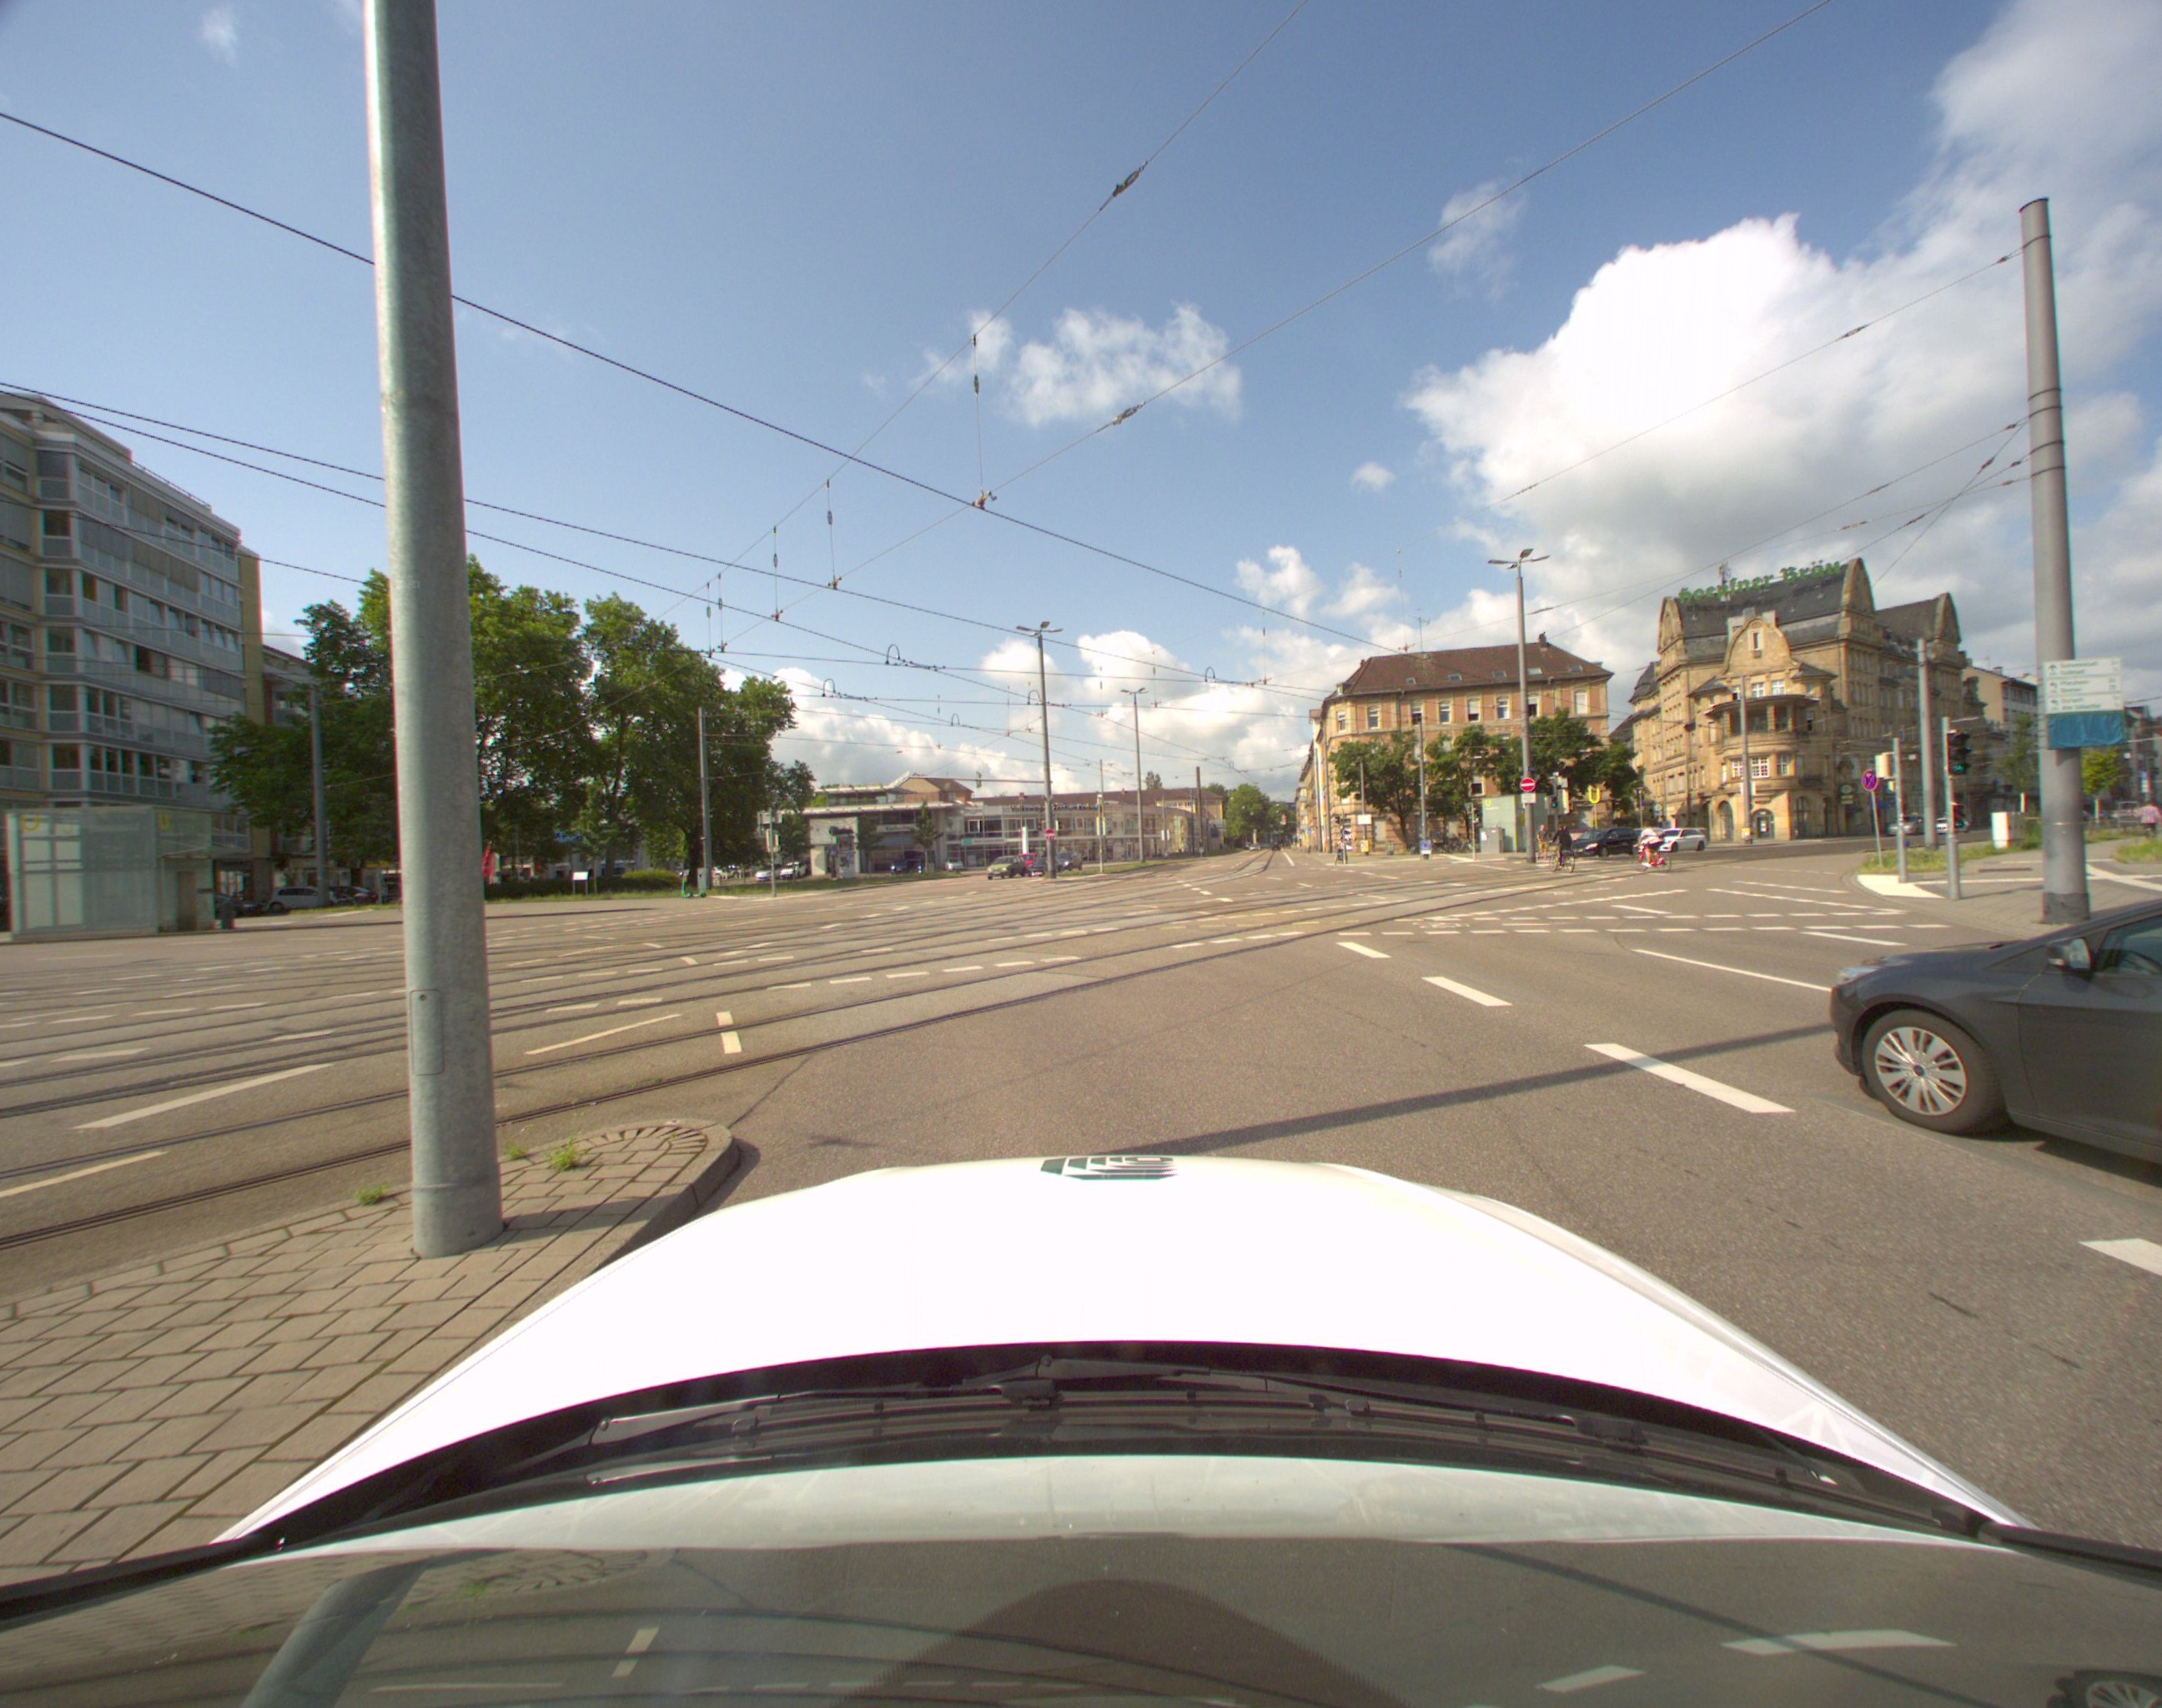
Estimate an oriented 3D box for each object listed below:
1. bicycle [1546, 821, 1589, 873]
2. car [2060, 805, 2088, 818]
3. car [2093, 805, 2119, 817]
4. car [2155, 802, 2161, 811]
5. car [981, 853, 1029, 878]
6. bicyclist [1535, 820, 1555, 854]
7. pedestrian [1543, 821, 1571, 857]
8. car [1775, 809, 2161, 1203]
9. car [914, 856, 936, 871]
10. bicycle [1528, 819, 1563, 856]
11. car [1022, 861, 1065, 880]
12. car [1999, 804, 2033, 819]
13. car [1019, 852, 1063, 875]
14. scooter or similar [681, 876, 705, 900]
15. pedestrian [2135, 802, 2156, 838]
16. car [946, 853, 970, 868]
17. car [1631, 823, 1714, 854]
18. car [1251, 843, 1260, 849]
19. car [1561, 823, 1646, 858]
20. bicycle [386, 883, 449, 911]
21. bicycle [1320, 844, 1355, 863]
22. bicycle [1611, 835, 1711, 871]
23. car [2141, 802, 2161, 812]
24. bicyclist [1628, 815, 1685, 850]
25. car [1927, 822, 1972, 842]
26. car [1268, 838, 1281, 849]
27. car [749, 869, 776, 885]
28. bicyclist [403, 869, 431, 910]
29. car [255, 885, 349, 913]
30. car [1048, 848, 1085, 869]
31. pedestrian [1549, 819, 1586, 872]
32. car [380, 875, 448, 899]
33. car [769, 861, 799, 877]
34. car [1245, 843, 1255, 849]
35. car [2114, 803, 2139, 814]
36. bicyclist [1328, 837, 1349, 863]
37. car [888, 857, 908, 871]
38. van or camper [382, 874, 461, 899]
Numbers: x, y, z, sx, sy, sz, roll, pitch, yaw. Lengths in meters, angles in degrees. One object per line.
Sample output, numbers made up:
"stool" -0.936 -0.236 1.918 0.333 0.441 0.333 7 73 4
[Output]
"bicycle" 17.084 -0.233 28.638 0.996 1.725 2.483 0 -1 24
"car" 133.181 -5.693 109.211 3.834 1.538 1.833 -3 0 -31
"car" 147.136 -6.163 116.917 3.834 1.538 1.833 -3 0 -31
"car" 195.656 -8.593 146.947 3.834 1.538 1.833 -3 0 -31
"car" -4.842 0.727 52.240 1.807 1.513 4.016 0 0 15
"bicyclist" 23.085 -0.833 40.534 0.571 1.671 0.655 0 -1 -5
"pedestrian" 24.284 -0.775 41.545 0.866 1.810 0.883 0 -1 -13
"car" 5.110 0.567 2.751 1.763 1.528 4.252 -3 0 -2
"car" -16.870 0.982 88.131 1.917 1.444 3.992 -2 0 -6
"bicycle" 23.068 -0.793 40.506 0.728 1.777 1.634 0 -1 -4
"car" -2.319 1.028 51.844 1.609 1.161 4.016 0 0 15
"car" 107.836 -4.879 93.900 3.834 1.538 1.833 -3 0 -31
"car" -2.832 0.665 58.125 1.979 1.519 4.016 0 0 15
"scooter or similar" -19.399 1.683 40.708 0.377 1.157 0.935 4 1 33
"pedestrian" 45.492 -1.456 34.792 0.501 1.505 0.501 -2 0 -36
"car" -13.528 0.730 90.026 1.913 1.552 4.000 -2 0 0
"car" 33.768 -0.890 46.447 4.697 1.595 1.982 -2 1 -28
"car" 40.824 -1.888 190.621 1.981 1.491 4.012 -1 0 11
"car" 27.958 -0.677 43.582 4.352 1.739 1.982 0 -1 -29
"bicycle" -28.829 1.856 35.408 1.998 1.127 0.782 0 -1 -30
"bicycle" 16.609 -0.038 52.717 2.695 1.170 0.890 -2 0 -43
"bicycle" 18.750 -0.012 26.461 0.990 1.028 3.106 1 -2 -1
"car" 181.884 -7.953 138.329 3.834 1.538 1.833 -3 0 -31
"bicyclist" 18.758 -0.687 26.576 0.987 1.028 1.214 1 -3 -2
"car" 75.201 -1.879 70.535 4.012 1.662 1.834 0 -1 -31
"car" 37.777 -1.992 158.997 1.978 2.013 4.018 -2 0 17
"car" -34.692 2.482 88.765 1.993 1.574 3.987 0 0 -9
"bicyclist" -28.843 1.532 35.387 0.830 1.745 0.705 0 -1 -30
"car" -46.975 2.703 49.188 3.573 1.530 1.987 0 -1 -19
"car" -1.135 0.361 65.893 1.979 1.552 4.016 -2 0 14
"pedestrian" 17.064 -0.283 28.575 0.983 1.841 1.002 0 -1 24
"car" -51.451 2.523 62.844 3.614 1.593 1.657 -3 0 -15
"car" -32.203 1.590 88.464 2.064 1.604 3.993 -2 0 -5
"car" 36.761 -1.706 177.473 1.981 1.332 4.011 -2 0 10
"car" 160.465 -6.957 125.001 3.834 1.538 1.833 -3 0 -31
"bicyclist" 16.669 -0.277 52.766 1.204 1.658 0.776 -2 0 -43
"car" -19.794 1.054 88.297 1.920 1.444 3.985 -3 0 -11
"van or camper" -65.920 3.237 81.507 5.857 2.469 2.393 0 -1 0
